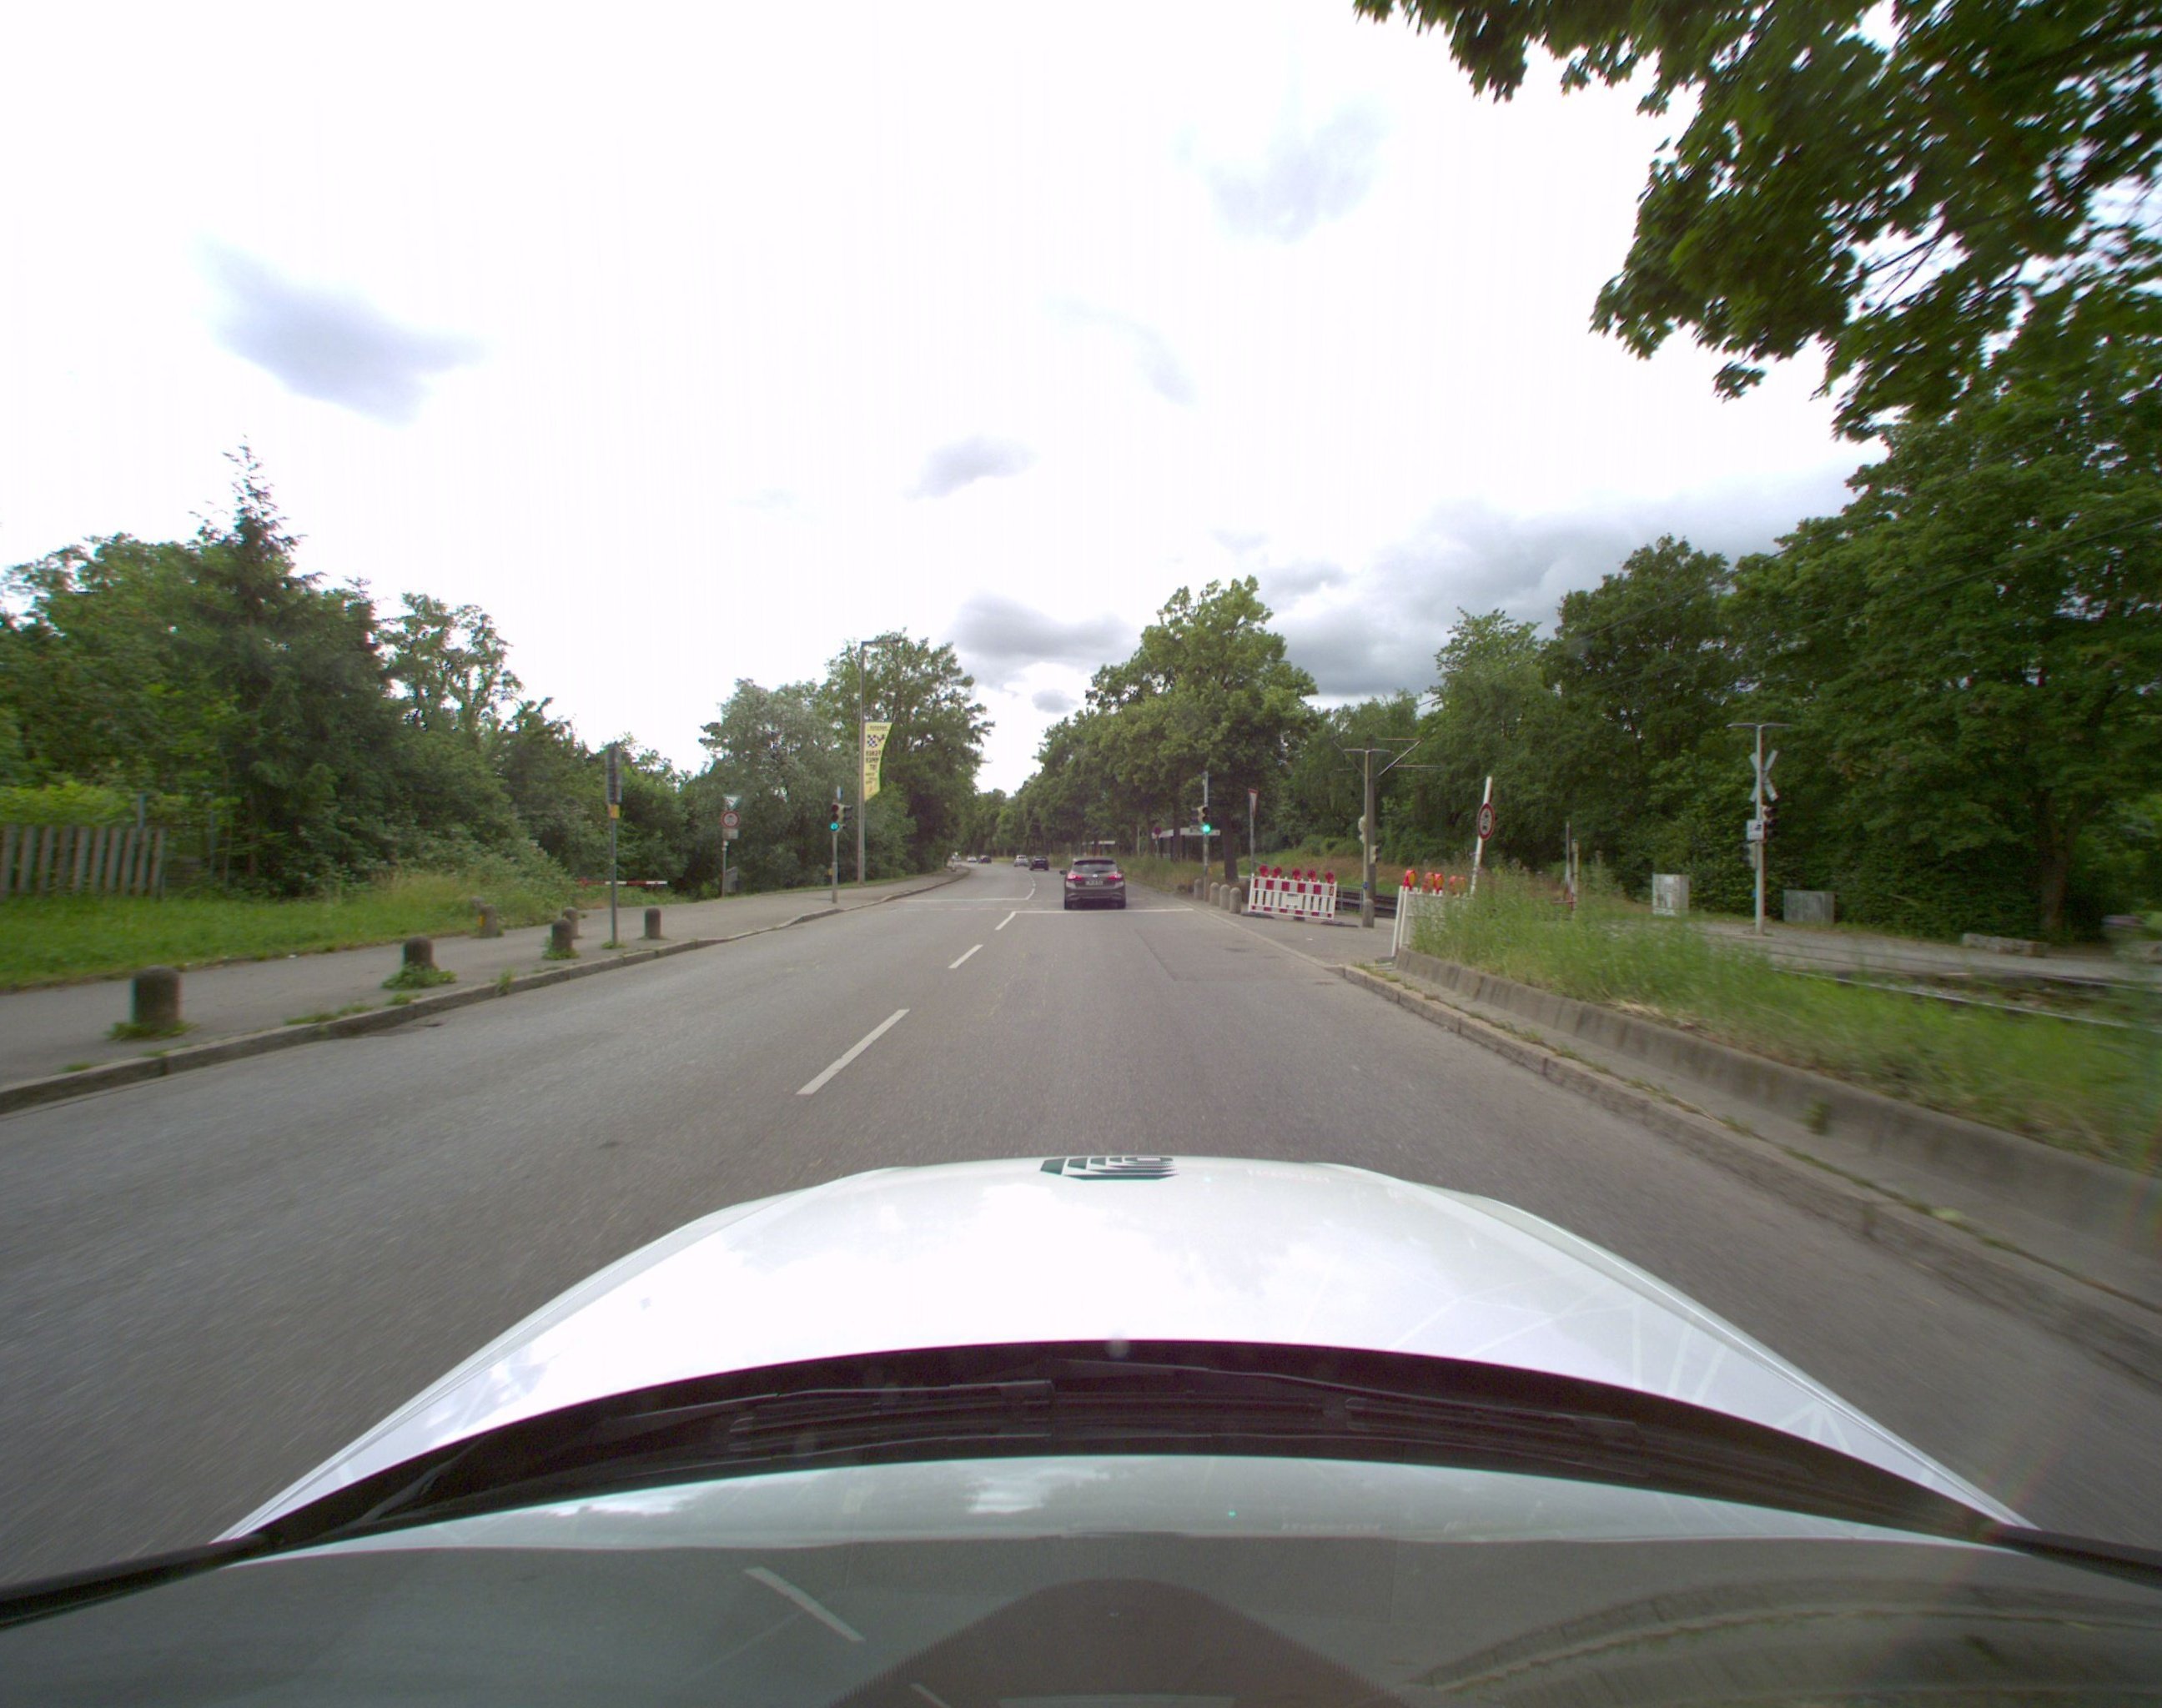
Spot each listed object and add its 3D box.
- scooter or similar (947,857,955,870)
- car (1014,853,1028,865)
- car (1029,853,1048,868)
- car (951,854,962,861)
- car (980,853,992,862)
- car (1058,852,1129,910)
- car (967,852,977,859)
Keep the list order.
[{"bbox_3d":[-11.851,0.890,74.282,0.366,1.184,1.286,1,0,-26],"label":"scooter or similar"},{"bbox_3d":[-7.948,0.604,107.754,1.773,1.472,3.994,2,0,-5],"label":"car"},{"bbox_3d":[-4.290,0.632,82.604,1.772,1.472,3.996,2,0,-3],"label":"car"},{"bbox_3d":[-27.786,0.713,182.165,1.781,1.472,3.976,2,0,-18],"label":"car"},{"bbox_3d":[-17.028,0.614,146.055,1.777,1.472,3.985,4,0,-11],"label":"car"},{"bbox_3d":[0.293,0.743,24.589,1.813,1.508,3.994,-1,1,-4],"label":"car"},{"bbox_3d":[-21.684,0.303,162.215,1.776,1.472,3.987,1,1,-9],"label":"car"}]
